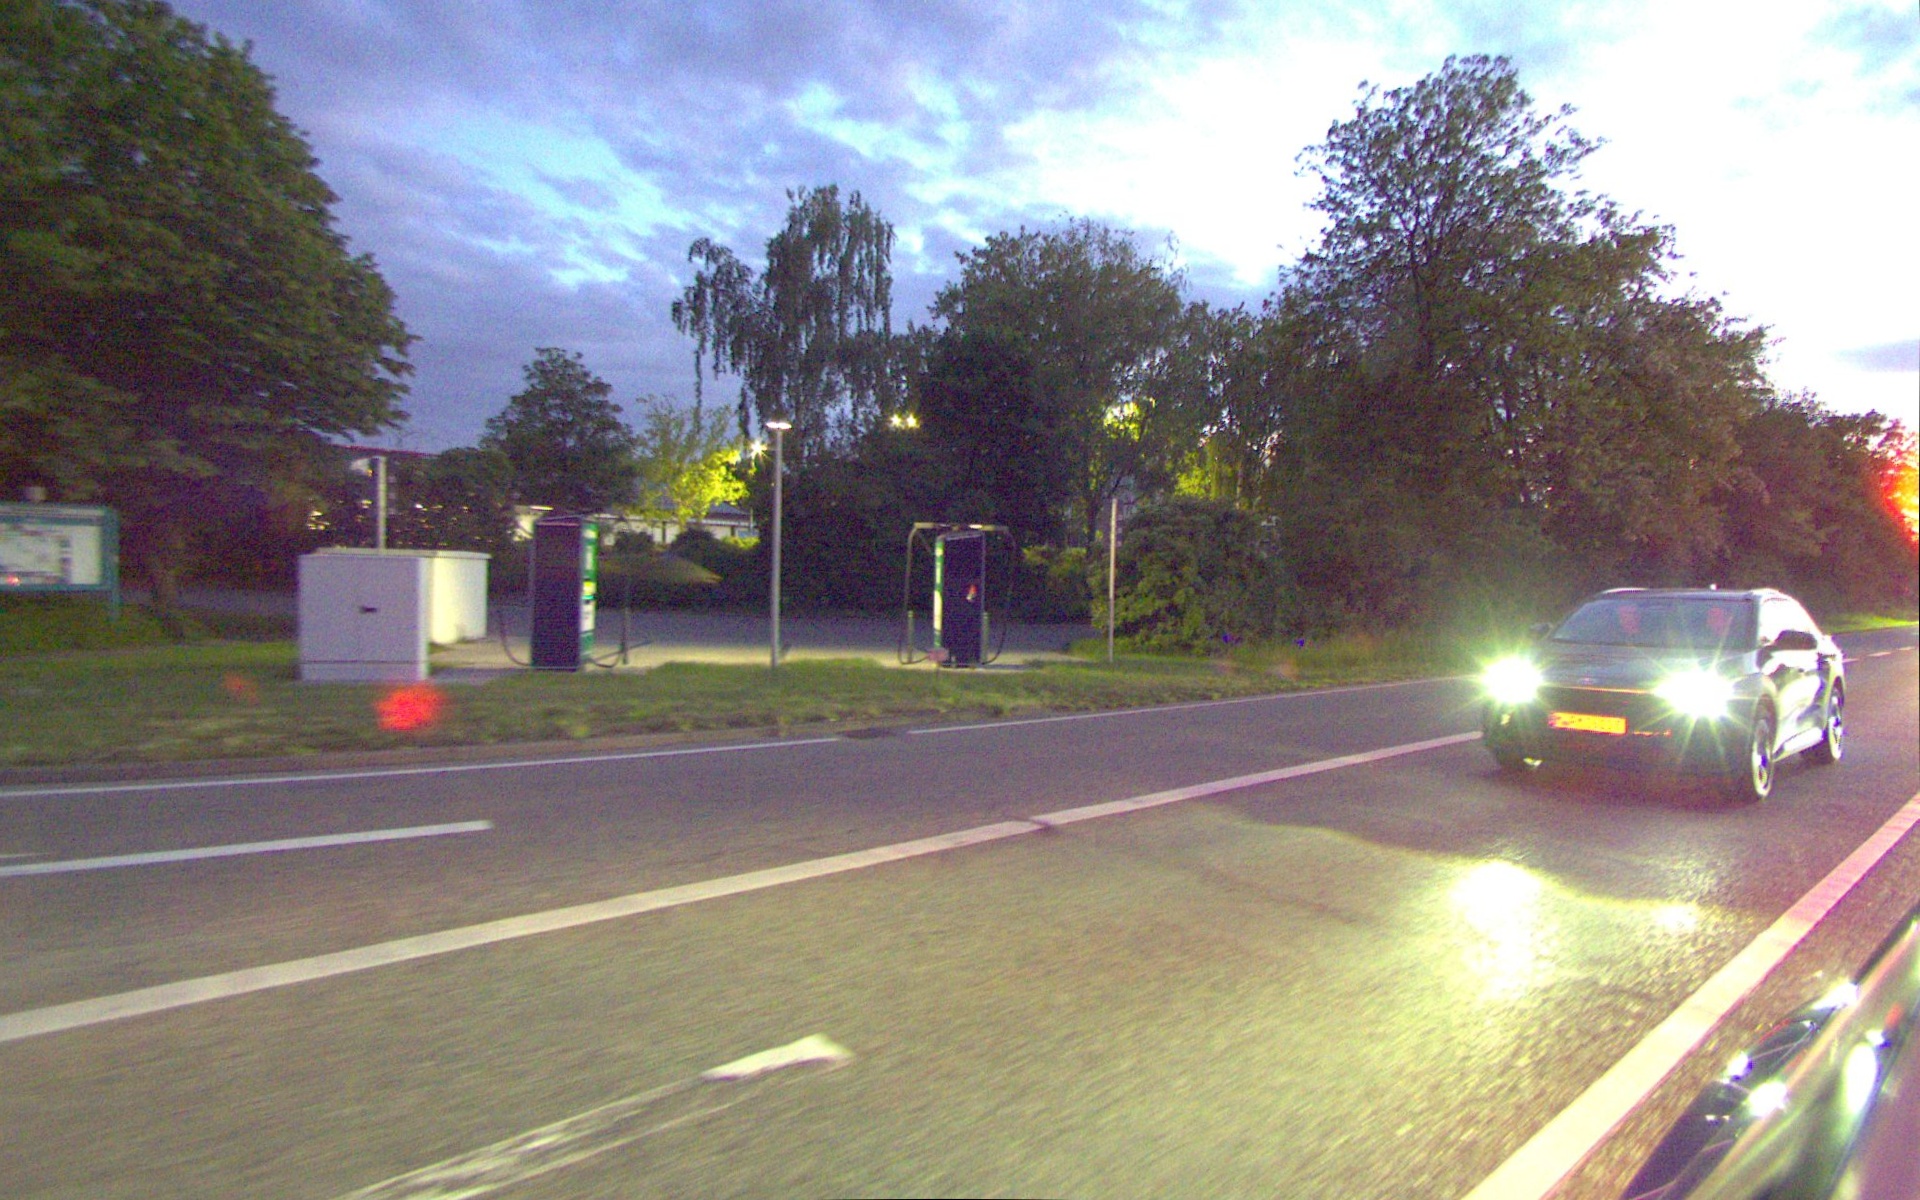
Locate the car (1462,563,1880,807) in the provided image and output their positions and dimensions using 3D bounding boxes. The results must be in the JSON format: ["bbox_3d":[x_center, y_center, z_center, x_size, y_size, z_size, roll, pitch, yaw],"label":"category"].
[{"bbox_3d":[6.500,0.554,9.032,4.629,1.630,1.997,0,0,-41],"label":"car"}]
